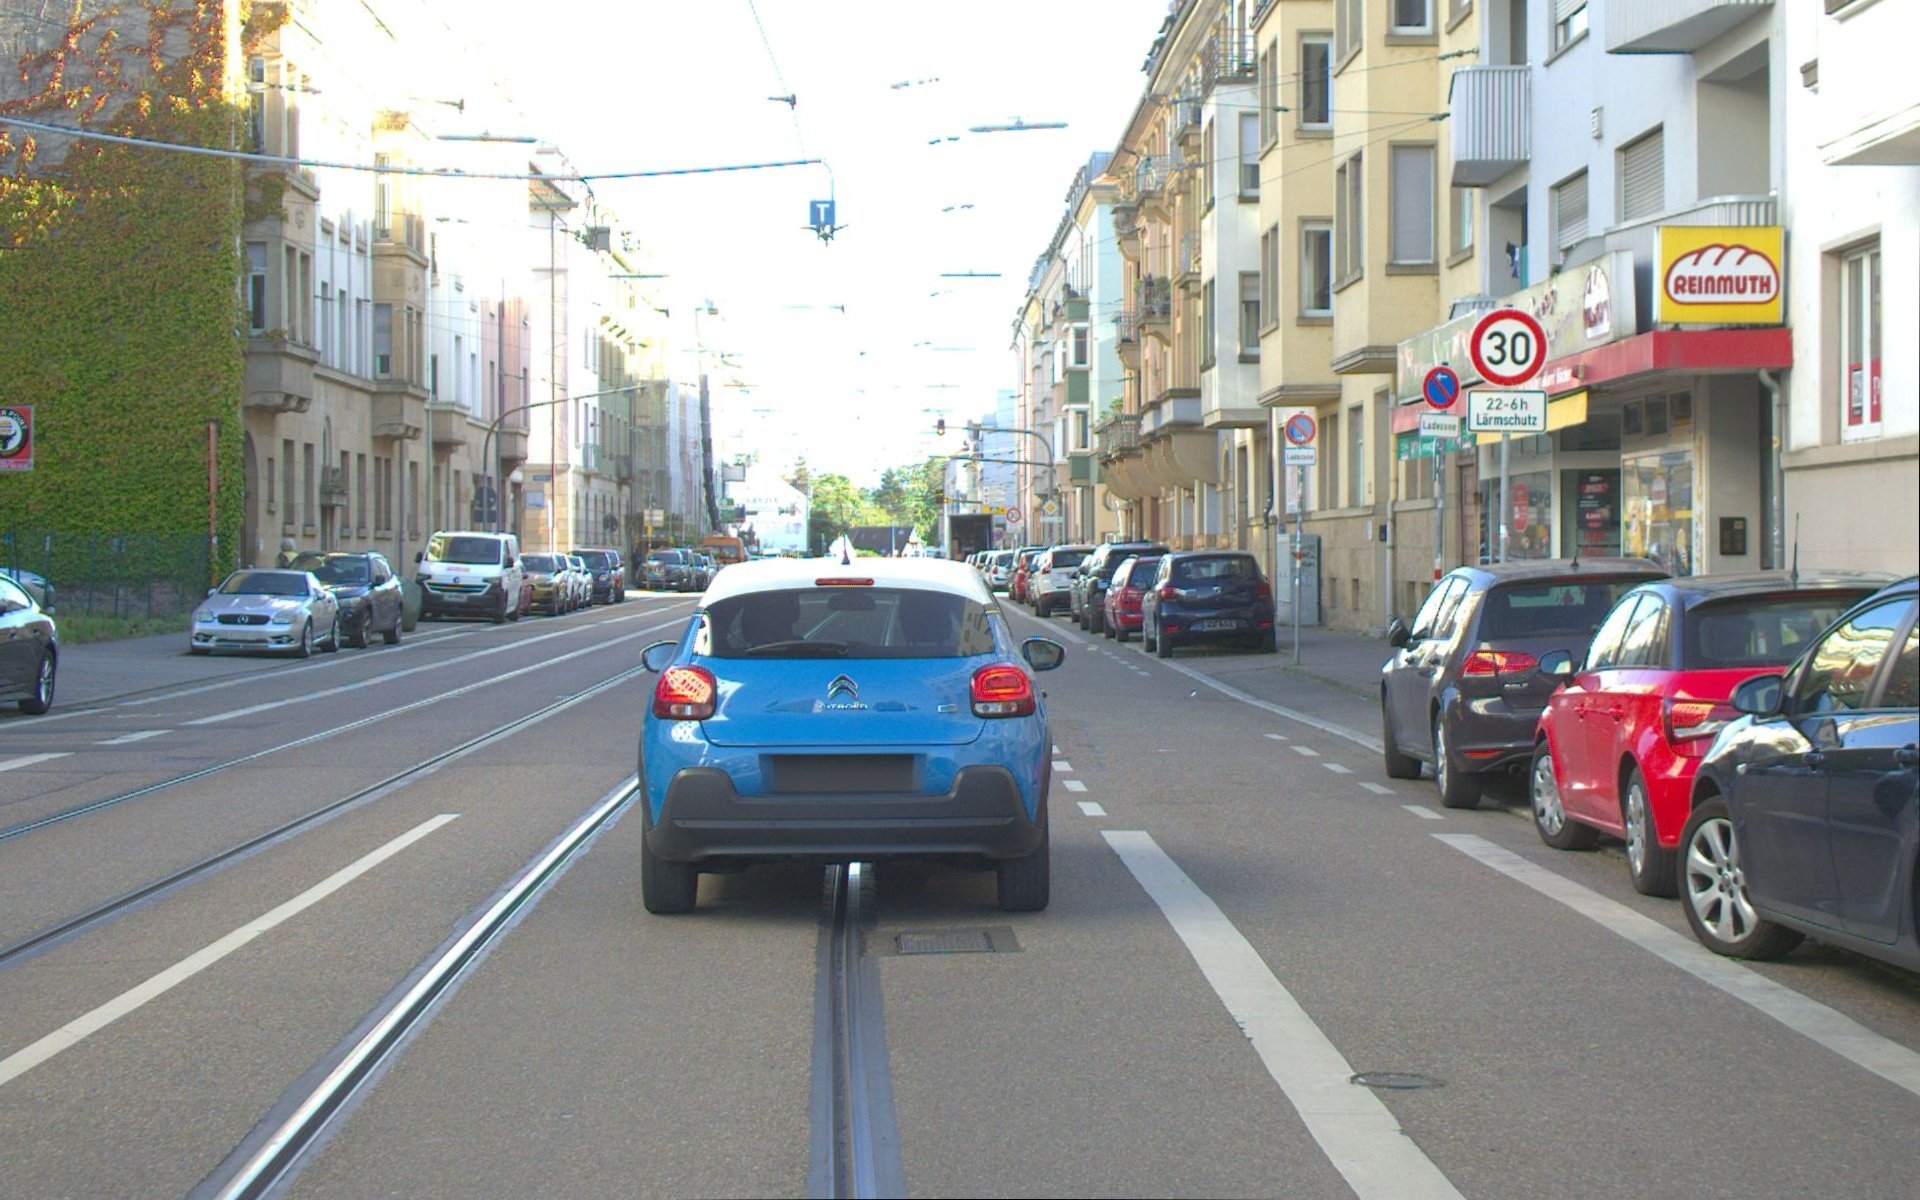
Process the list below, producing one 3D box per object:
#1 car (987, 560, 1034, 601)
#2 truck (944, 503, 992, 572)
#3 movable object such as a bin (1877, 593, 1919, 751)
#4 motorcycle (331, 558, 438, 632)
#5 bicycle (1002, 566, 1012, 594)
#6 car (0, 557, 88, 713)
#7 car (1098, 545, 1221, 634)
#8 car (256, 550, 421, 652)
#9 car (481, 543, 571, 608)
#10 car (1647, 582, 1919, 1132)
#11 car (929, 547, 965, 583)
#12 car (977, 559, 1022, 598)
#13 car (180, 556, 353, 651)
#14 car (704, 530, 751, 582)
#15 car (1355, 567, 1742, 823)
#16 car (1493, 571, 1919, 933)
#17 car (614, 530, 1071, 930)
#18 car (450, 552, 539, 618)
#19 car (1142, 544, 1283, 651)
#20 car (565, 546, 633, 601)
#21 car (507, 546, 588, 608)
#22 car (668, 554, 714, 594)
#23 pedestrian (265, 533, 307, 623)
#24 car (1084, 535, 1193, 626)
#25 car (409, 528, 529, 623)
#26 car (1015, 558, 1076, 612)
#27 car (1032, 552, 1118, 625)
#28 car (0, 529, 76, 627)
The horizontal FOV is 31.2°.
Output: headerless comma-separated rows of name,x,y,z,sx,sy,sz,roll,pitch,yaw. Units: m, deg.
car,2.002,-0.789,136.988,1.783,1.626,4.000,0,0,0
truck,0.502,-3.741,207.828,2.853,4.069,11.271,0,1,0
movable object such as a bin,6.599,0.485,23.363,0.558,1.053,0.554,1,1,-2
motorcycle,-10.725,-0.092,64.169,0.885,1.346,1.954,1,1,32
bicycle,1.807,-0.775,131.753,0.353,1.041,1.728,0,1,1
car,-9.950,0.302,33.292,1.783,1.441,4.842,2,1,-1
car,3.375,-0.199,58.857,1.859,1.450,4.710,0,1,0
car,-10.350,-0.009,57.515,1.783,1.560,4.610,2,1,1
car,-10.777,-0.620,85.579,1.783,1.518,4.360,2,1,-2
car,3.645,0.708,11.478,1.857,1.502,4.096,-2,1,0
car,-0.690,-1.868,182.049,1.821,1.888,4.000,1,1,-1
car,1.640,-0.893,142.718,1.783,1.570,4.326,0,1,0
car,-10.468,0.026,52.159,1.783,1.309,4.221,2,1,-1
car,-11.582,-2.205,171.575,2.144,2.467,4.981,2,1,-3
car,3.642,0.526,22.001,1.710,1.402,4.358,-2,1,0
car,3.840,0.635,16.686,1.857,1.468,3.988,-2,1,0
car,-0.480,0.485,15.456,1.735,1.502,3.992,2,1,-1
car,-10.958,-0.375,81.180,1.602,1.467,3.646,2,1,-1
car,3.659,-0.055,50.346,1.718,1.486,4.002,-1,1,-1
car,-11.143,-0.836,106.213,1.783,1.601,4.398,2,1,-3
car,-10.896,-0.620,91.051,1.771,1.541,4.366,2,1,-3
car,-11.586,-1.145,148.251,1.783,1.621,4.610,2,1,-3
pedestrian,-13.031,-0.429,66.469,0.679,1.718,0.616,1,0,-1
car,3.350,-0.376,65.169,1.859,1.660,4.561,0,1,0
car,-10.755,-0.559,75.665,1.973,1.942,5.252,2,1,-2
car,2.564,-0.456,103.219,1.753,1.589,3.729,0,1,0
car,2.701,-0.297,81.787,1.843,1.685,4.505,0,1,-1
car,-16.280,-0.356,52.911,4.781,1.513,2.000,0,1,-34
